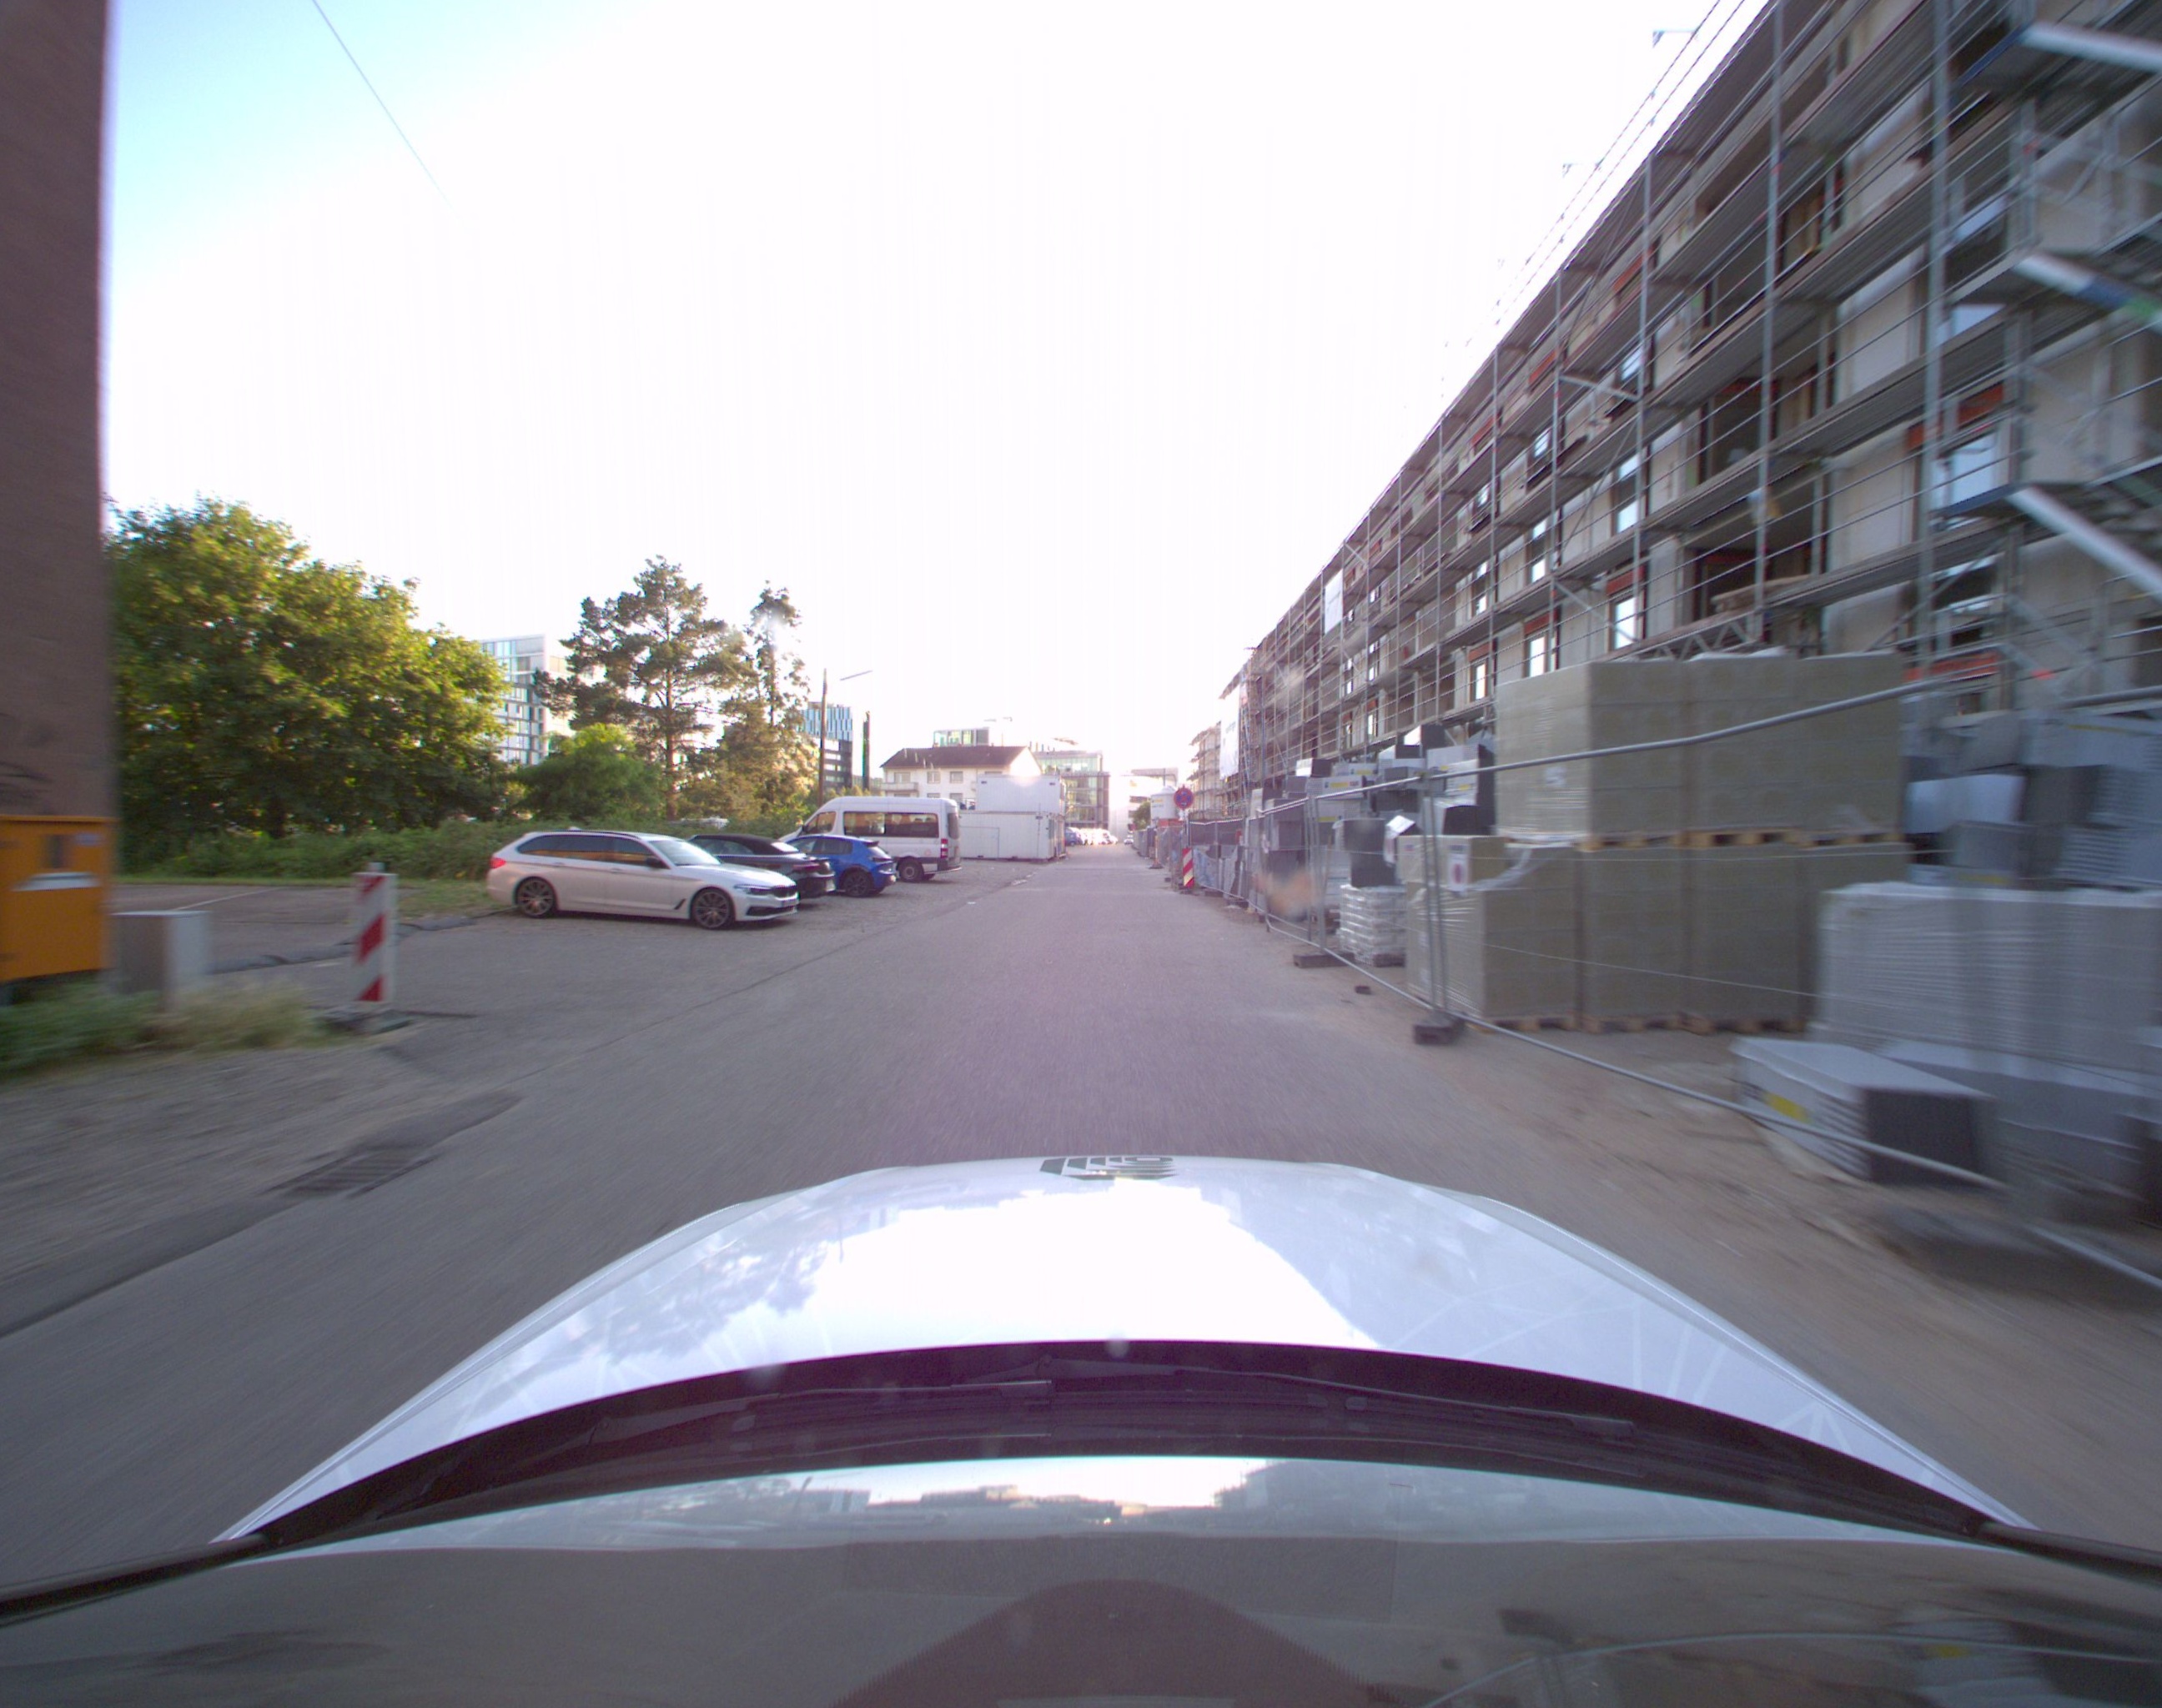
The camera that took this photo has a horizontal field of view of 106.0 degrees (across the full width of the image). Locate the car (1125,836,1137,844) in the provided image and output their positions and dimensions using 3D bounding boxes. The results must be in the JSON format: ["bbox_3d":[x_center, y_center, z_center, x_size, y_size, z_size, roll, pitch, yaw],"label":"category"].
[{"bbox_3d":[9.069,-2.545,146.328,1.654,1.529,3.922,0,1,10],"label":"car"}]

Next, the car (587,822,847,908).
[{"bbox_3d":[-7.181,0.204,16.415,4.404,1.544,1.727,1,1,-2],"label":"car"}]

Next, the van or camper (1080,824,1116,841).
[{"bbox_3d":[3.171,-3.898,150.310,6.287,2.978,2.302,1,1,14],"label":"van or camper"}]

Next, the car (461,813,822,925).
[{"bbox_3d":[-7.293,0.211,13.892,4.972,1.544,2.118,2,1,4],"label":"car"}]

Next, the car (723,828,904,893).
[{"bbox_3d":[-6.469,0.134,20.006,3.824,1.429,1.727,1,1,-1],"label":"car"}]

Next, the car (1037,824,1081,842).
[{"bbox_3d":[-3.151,-3.002,117.487,6.302,2.650,2.002,0,1,2],"label":"car"}]

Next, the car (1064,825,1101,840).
[{"bbox_3d":[0.246,-3.652,136.677,5.882,2.490,2.007,0,1,13],"label":"car"}]

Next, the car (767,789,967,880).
[{"bbox_3d":[-6.686,-0.622,25.916,5.664,2.626,2.224,1,1,3],"label":"car"}]

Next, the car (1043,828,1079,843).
[{"bbox_3d":[-2.603,-2.400,103.530,4.494,1.868,1.998,0,1,-4],"label":"car"}]

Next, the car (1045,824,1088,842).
[{"bbox_3d":[-2.089,-3.127,121.334,6.302,2.741,2.002,0,1,2],"label":"car"}]
